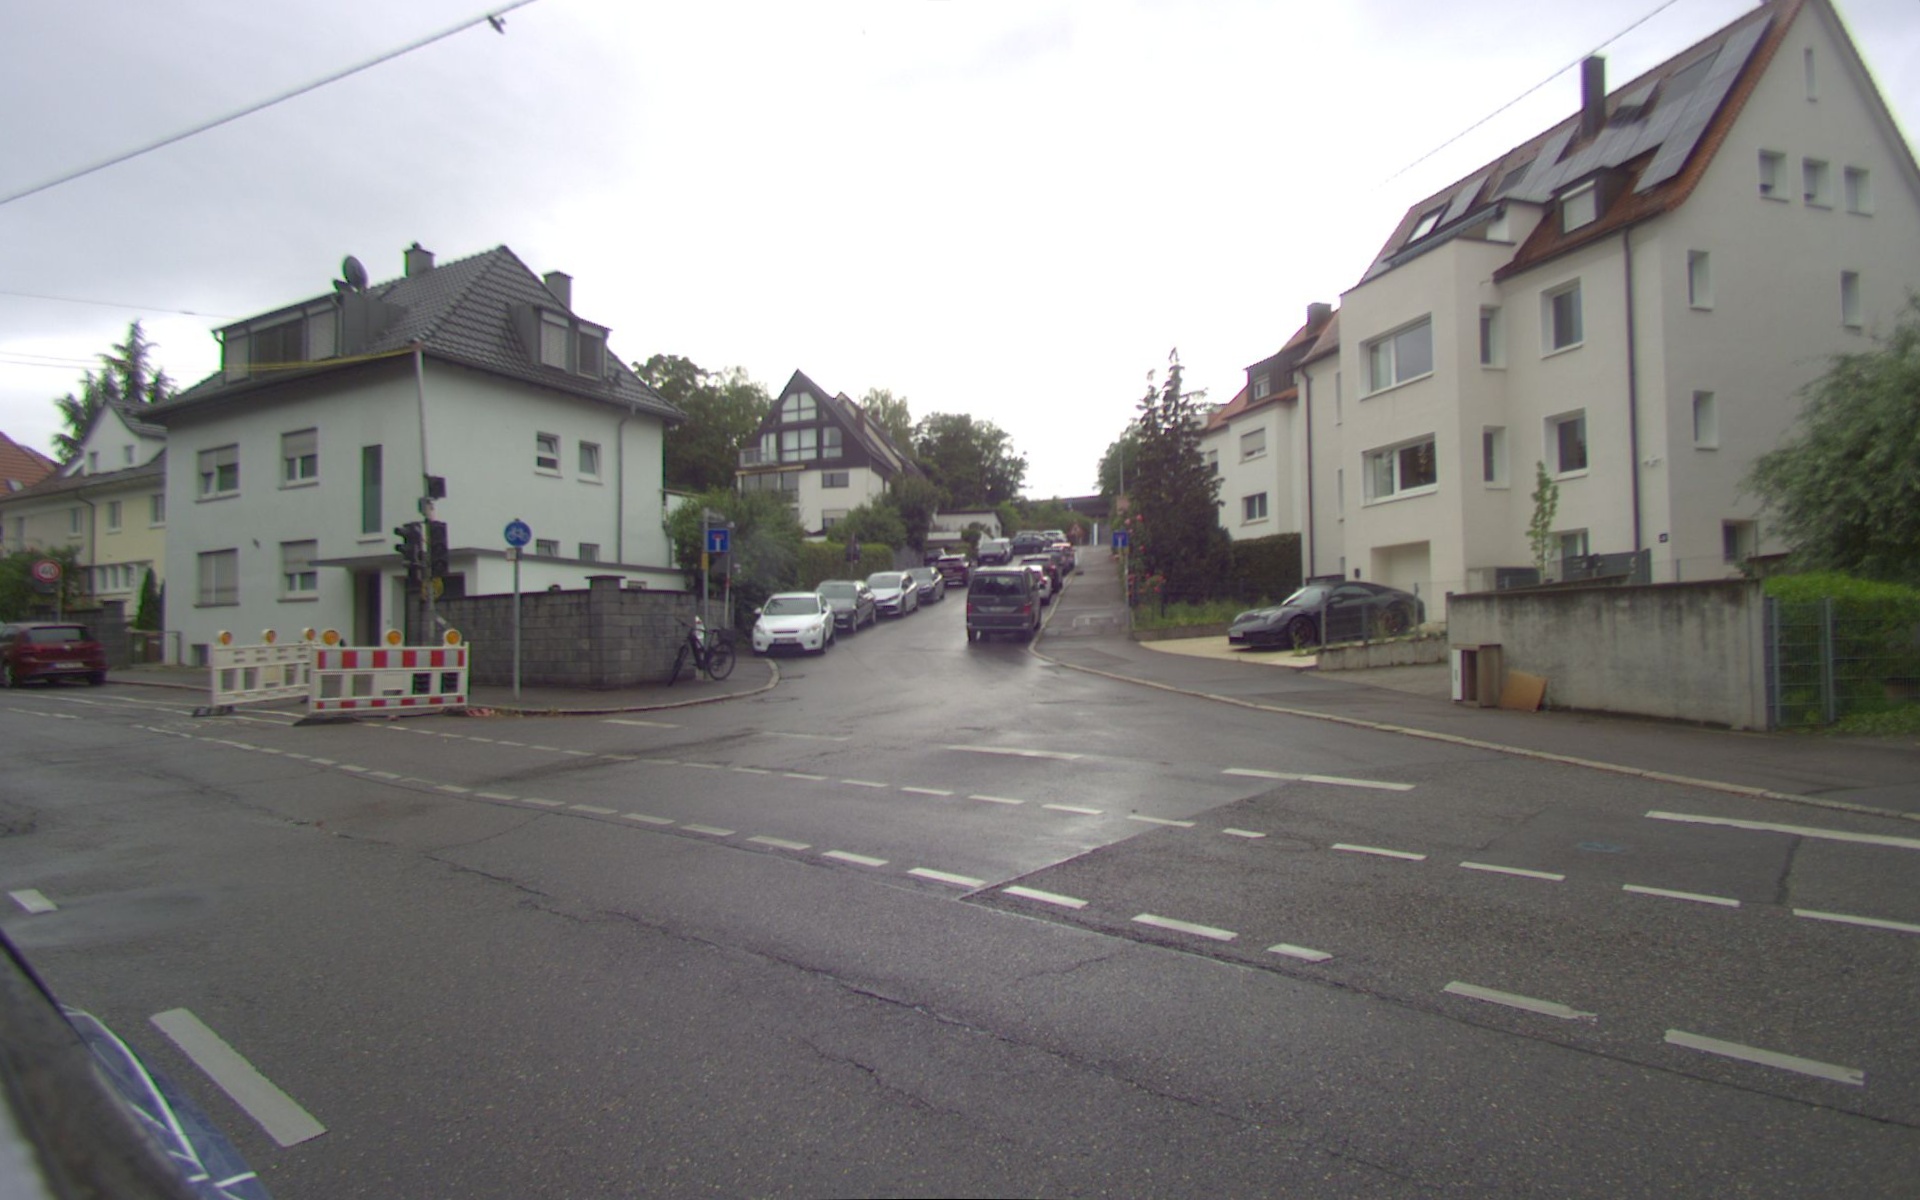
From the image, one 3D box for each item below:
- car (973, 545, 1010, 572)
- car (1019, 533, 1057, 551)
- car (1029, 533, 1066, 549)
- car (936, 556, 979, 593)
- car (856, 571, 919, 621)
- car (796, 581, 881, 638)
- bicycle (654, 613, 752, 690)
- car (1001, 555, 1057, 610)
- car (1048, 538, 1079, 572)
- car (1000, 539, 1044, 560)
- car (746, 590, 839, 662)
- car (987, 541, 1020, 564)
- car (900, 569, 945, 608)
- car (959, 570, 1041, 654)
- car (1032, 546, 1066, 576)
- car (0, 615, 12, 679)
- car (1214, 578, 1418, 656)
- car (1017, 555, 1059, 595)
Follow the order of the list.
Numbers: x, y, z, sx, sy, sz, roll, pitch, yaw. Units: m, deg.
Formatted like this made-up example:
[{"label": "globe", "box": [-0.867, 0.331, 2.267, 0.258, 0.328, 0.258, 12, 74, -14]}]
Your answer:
[{"label": "car", "box": [2.159, -2.851, 68.604, 1.720, 1.510, 3.817, -1, 6, 13]}, {"label": "car", "box": [7.633, -5.657, 98.763, 3.489, 1.510, 1.615, -1, 6, 16]}, {"label": "car", "box": [8.968, -6.071, 103.843, 3.492, 1.510, 1.614, -1, 6, 18]}, {"label": "car", "box": [-0.087, -1.351, 52.195, 1.323, 1.566, 3.971, -1, 6, 13]}, {"label": "car", "box": [-2.582, -0.188, 36.958, 1.564, 1.476, 3.848, -1, 5, 7]}, {"label": "car", "box": [-3.731, 0.242, 31.690, 1.684, 1.476, 3.847, -2, 3, 7]}, {"label": "bicycle", "box": [-4.690, 0.911, 18.547, 0.705, 1.321, 1.713, -1, 0, 33]}, {"label": "car", "box": [2.771, -0.731, 39.921, 1.900, 1.850, 3.406, -2, 5, 9]}, {"label": "car", "box": [6.418, -2.816, 62.682, 1.677, 1.871, 3.553, -2, 5, 9]}, {"label": "car", "box": [5.134, -4.215, 83.772, 3.572, 1.510, 1.578, -2, 5, 7]}, {"label": "car", "box": [-4.192, 0.606, 25.855, 1.726, 1.476, 3.561, -2, 3, 0]}, {"label": "car", "box": [3.291, -3.577, 75.819, 1.720, 1.510, 3.817, -1, 6, 13]}, {"label": "car", "box": [-1.527, -0.511, 42.454, 1.320, 1.400, 3.497, -1, 5, 7]}, {"label": "car", "box": [1.224, 0.275, 28.867, 1.893, 1.950, 3.789, -2, 5, 9]}, {"label": "car", "box": [5.165, -2.258, 58.233, 1.677, 1.479, 3.553, -2, 5, 9]}, {"label": "car", "box": [-25.898, 1.285, 25.742, 3.993, 1.601, 1.652, -3, -1, 33]}, {"label": "car", "box": [7.655, 0.343, 21.832, 3.857, 1.342, 1.572, -4, 1, -16]}, {"label": "car", "box": [3.513, -1.135, 45.281, 1.565, 1.479, 3.553, -2, 5, 9]}]
